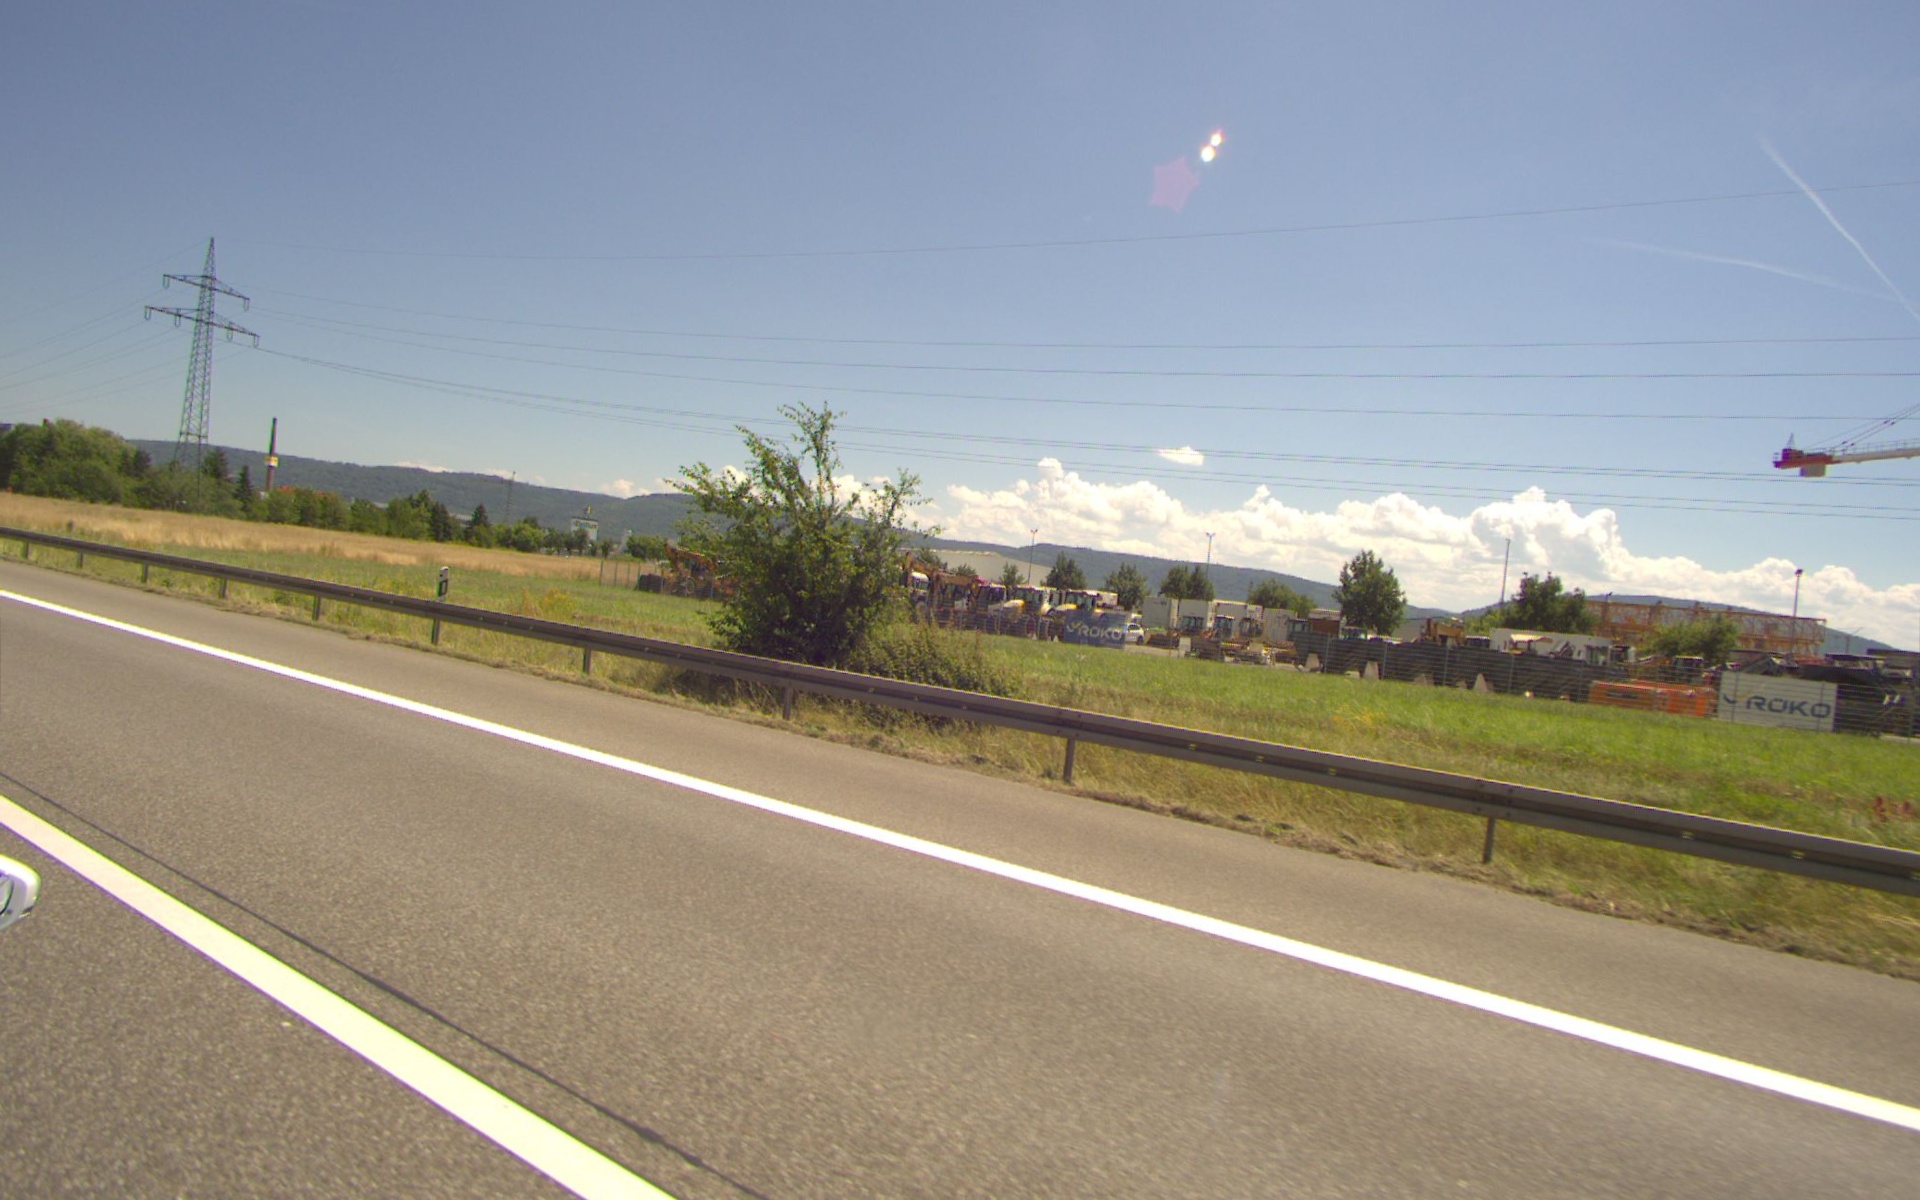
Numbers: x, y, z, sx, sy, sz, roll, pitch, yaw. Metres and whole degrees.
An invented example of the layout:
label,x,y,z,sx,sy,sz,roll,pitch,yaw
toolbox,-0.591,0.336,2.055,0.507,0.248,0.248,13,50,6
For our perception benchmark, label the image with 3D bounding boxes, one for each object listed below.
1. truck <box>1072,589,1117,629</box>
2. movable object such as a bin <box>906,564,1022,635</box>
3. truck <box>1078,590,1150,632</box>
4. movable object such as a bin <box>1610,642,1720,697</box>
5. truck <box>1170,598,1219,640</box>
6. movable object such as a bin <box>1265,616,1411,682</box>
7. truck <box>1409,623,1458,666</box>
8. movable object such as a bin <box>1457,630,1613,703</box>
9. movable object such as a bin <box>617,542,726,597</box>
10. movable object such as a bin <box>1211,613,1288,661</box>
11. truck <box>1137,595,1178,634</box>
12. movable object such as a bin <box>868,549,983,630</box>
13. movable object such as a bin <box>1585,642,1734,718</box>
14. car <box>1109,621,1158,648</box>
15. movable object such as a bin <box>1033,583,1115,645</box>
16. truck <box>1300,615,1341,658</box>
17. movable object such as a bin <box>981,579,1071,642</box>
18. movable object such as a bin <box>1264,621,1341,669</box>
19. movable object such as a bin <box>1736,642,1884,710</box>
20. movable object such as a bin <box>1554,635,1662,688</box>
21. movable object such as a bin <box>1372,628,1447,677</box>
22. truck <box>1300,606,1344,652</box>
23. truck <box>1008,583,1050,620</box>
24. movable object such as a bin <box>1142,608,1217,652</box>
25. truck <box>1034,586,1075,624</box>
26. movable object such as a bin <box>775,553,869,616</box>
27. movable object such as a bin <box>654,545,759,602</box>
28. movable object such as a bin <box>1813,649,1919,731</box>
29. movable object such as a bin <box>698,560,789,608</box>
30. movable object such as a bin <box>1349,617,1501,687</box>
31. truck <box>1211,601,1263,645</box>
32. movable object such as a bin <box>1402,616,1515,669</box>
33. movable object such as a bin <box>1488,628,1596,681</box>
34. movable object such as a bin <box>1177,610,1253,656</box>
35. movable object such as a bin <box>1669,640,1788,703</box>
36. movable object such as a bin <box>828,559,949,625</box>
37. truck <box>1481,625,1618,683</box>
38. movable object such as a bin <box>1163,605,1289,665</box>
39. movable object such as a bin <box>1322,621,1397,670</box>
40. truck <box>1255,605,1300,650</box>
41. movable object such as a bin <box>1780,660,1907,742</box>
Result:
label,x,y,z,sx,sy,sz,roll,pitch,yaw
truck,13.243,0.918,98.931,3.150,3.461,5.719,6,0,17
movable object such as a bin,0.365,0.049,63.751,3.057,3.832,7.508,7,1,39
truck,12.761,0.958,82.932,3.294,2.857,6.344,6,0,34
movable object such as a bin,42.562,4.231,60.652,8.356,2.723,2.580,5,1,-35
truck,20.859,1.750,89.310,3.284,3.297,6.362,6,0,19
movable object such as a bin,19.786,2.578,52.470,7.779,2.723,3.147,5,1,-35
truck,39.731,3.710,84.563,2.868,3.189,6.361,6,0,21
movable object such as a bin,26.988,3.131,47.072,7.779,2.723,3.147,5,1,-35
movable object such as a bin,-22.072,-2.293,77.429,3.004,3.446,7.539,7,1,37
movable object such as a bin,21.164,2.725,73.362,6.324,2.916,2.245,6,1,-44
truck,18.180,1.393,92.507,2.798,3.248,5.334,6,0,17
movable object such as a bin,-2.151,-0.609,65.861,3.057,4.586,7.508,7,1,39
movable object such as a bin,31.007,3.576,44.547,6.838,2.723,3.146,5,1,-36
car,13.420,2.665,77.712,1.670,1.569,4.240,7,-2,39
movable object such as a bin,6.768,0.859,59.348,2.264,3.238,4.807,7,1,39
truck,30.898,3.115,86.102,2.868,3.189,6.361,6,0,21
movable object such as a bin,4.074,0.683,61.325,2.747,3.335,5.250,7,1,39
movable object such as a bin,24.365,3.204,71.369,6.324,2.916,2.245,6,1,-44
movable object such as a bin,47.519,4.314,56.079,11.106,2.984,2.981,6,1,-33
movable object such as a bin,40.927,3.922,63.445,8.356,2.723,2.580,5,1,-35
movable object such as a bin,31.205,3.648,69.727,6.324,2.916,2.245,6,1,-44
truck,28.410,2.281,78.878,2.868,3.189,6.361,6,0,21
truck,7.321,0.221,106.542,2.858,3.461,5.719,6,0,17
movable object such as a bin,16.850,2.339,76.871,6.324,2.784,2.245,6,1,-44
truck,9.701,0.560,102.713,2.720,3.461,5.719,6,0,17
movable object such as a bin,-9.499,-0.994,69.884,2.457,3.780,6.341,7,1,37
movable object such as a bin,-18.611,-1.907,74.200,2.239,3.446,7.539,7,1,37
movable object such as a bin,50.017,4.938,53.307,11.584,3.657,2.951,6,1,-28
movable object such as a bin,-15.697,-1.113,73.305,2.239,2.917,6.341,7,1,37
movable object such as a bin,23.065,2.606,49.766,7.779,2.723,3.147,5,1,-35
truck,23.659,2.013,85.656,3.191,3.297,6.358,6,0,23
movable object such as a bin,32.441,2.822,65.296,8.356,2.723,2.714,5,1,-35
movable object such as a bin,37.490,3.517,64.691,8.356,2.723,2.580,5,1,-35
movable object such as a bin,19.086,2.496,75.139,6.324,2.916,2.245,6,1,-44
movable object such as a bin,44.481,4.159,58.118,8.356,2.984,2.881,5,1,-35
movable object such as a bin,-4.733,-0.468,68.634,3.288,3.780,8.175,7,1,39
truck,42.658,3.866,73.047,2.895,3.190,7.823,5,1,-36
movable object such as a bin,14.811,1.986,55.683,3.136,2.723,7.806,7,1,44
movable object such as a bin,28.107,3.242,70.622,6.324,2.916,2.245,6,1,-44
truck,26.022,2.278,82.213,2.868,3.189,6.361,6,0,21
movable object such as a bin,36.341,4.087,41.302,6.855,2.723,3.138,5,1,-44
